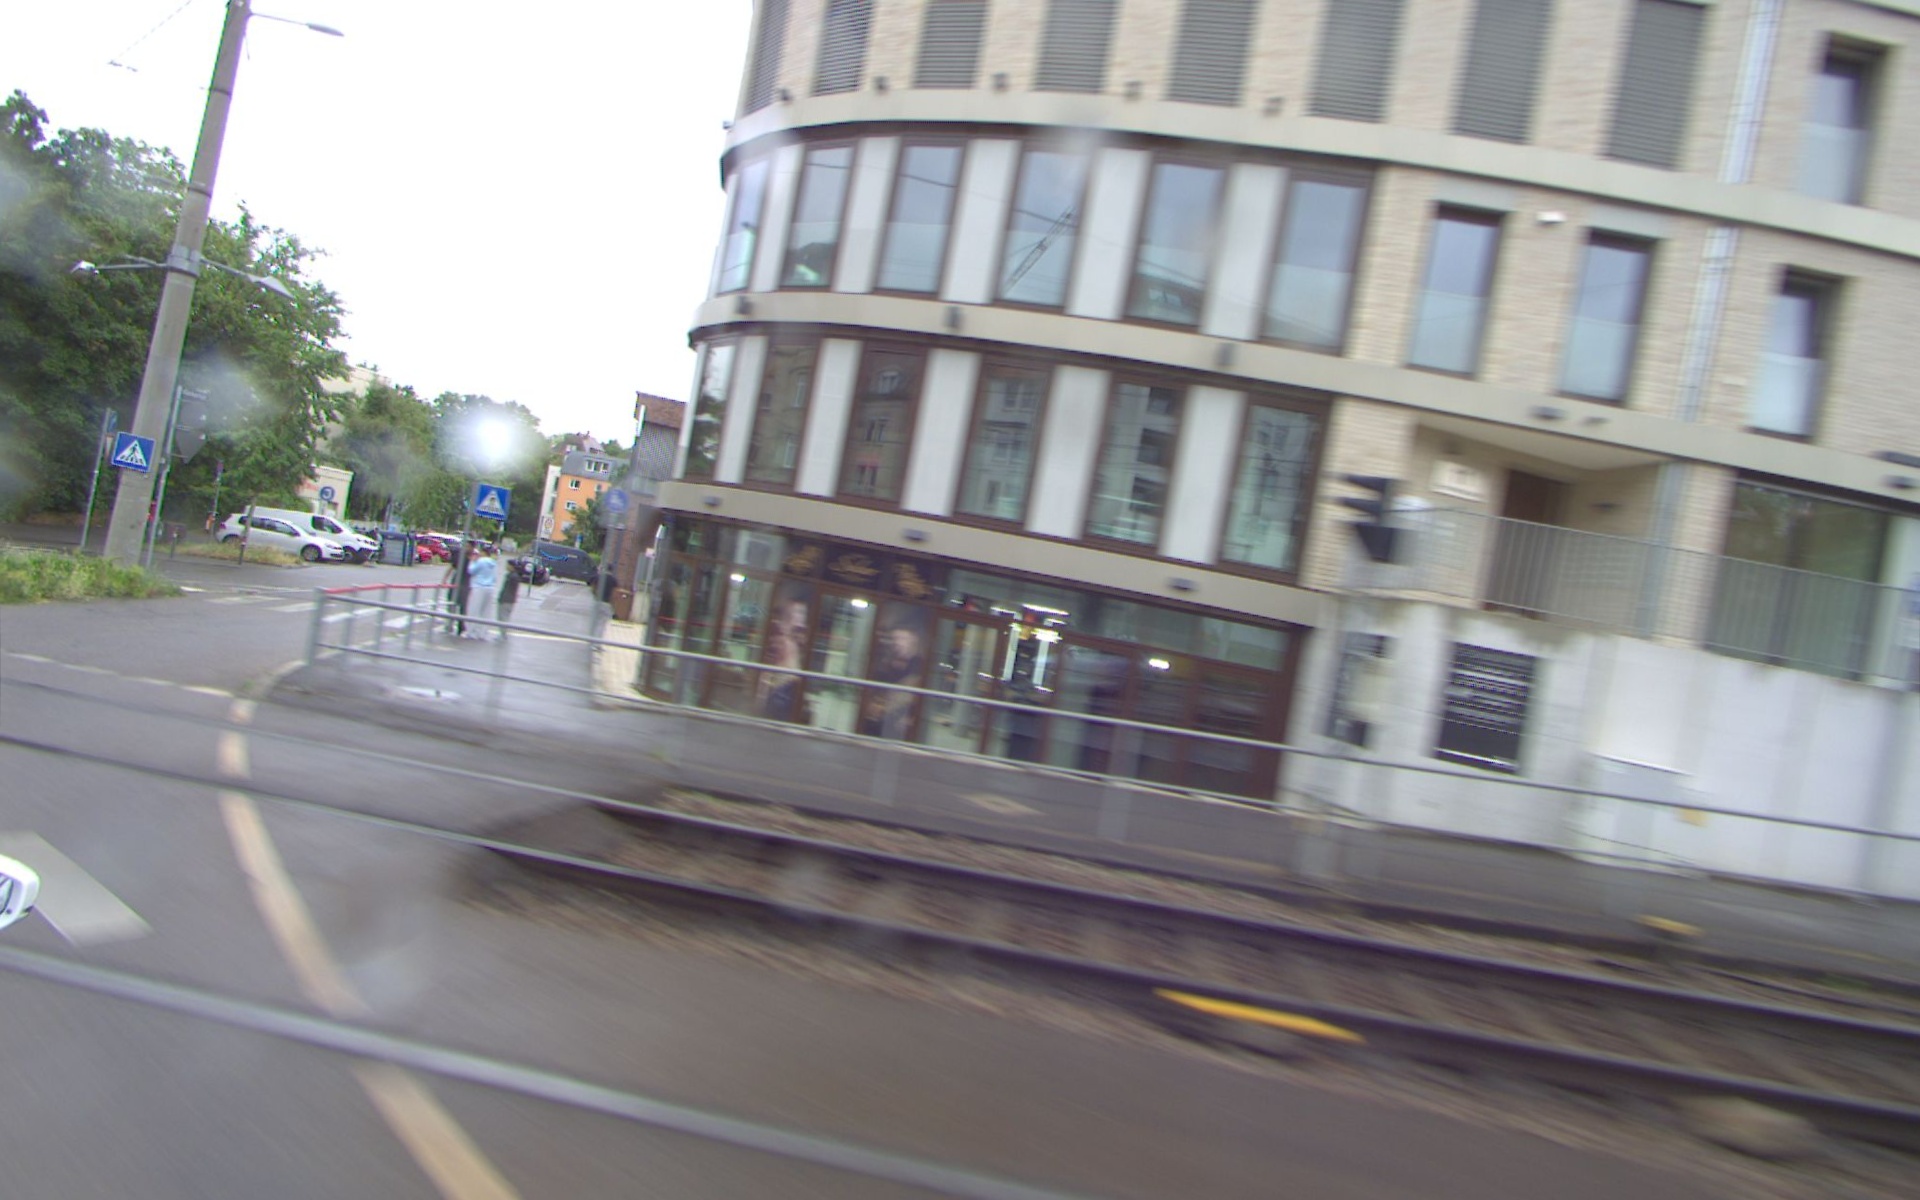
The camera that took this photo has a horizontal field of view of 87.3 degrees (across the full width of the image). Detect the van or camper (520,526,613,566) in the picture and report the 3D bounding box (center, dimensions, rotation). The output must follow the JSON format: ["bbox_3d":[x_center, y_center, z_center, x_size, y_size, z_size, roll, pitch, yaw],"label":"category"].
[{"bbox_3d":[-28.837,-3.938,73.942,5.905,2.038,1.976,8,0,-42],"label":"van or camper"}]

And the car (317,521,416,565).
[{"bbox_3d":[-29.882,-2.848,50.774,3.846,1.705,1.731,7,0,-18],"label":"car"}]

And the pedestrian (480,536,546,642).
[{"bbox_3d":[-9.074,-0.217,20.427,0.876,2.039,0.592,8,1,27],"label":"pedestrian"}]

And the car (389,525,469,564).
[{"bbox_3d":[-33.322,-3.469,63.234,3.942,1.793,1.840,9,0,-17],"label":"car"}]

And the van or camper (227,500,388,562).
[{"bbox_3d":[-26.995,-2.824,41.836,5.100,1.857,1.994,7,0,-15],"label":"van or camper"}]

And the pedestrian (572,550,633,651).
[{"bbox_3d":[-7.591,0.018,21.371,0.876,2.039,0.592,8,2,27],"label":"pedestrian"}]

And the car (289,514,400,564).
[{"bbox_3d":[-27.934,-2.747,45.777,3.846,1.705,1.731,7,0,-18],"label":"car"}]

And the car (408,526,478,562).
[{"bbox_3d":[-36.204,-3.895,70.541,3.942,1.793,1.840,9,0,-17],"label":"car"}]

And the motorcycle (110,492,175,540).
[{"bbox_3d":[-29.446,-2.994,36.283,0.815,1.389,2.419,12,-3,-20],"label":"motorcycle"}]

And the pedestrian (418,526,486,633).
[{"bbox_3d":[-10.228,-0.404,20.260,0.771,2.039,0.684,8,1,19],"label":"pedestrian"}]

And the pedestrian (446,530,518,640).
[{"bbox_3d":[-9.397,-0.289,19.777,0.875,2.039,0.657,8,1,19],"label":"pedestrian"}]

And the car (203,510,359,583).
[{"bbox_3d":[-26.327,-2.023,39.204,4.448,2.036,1.992,9,-2,-20],"label":"car"}]

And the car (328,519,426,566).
[{"bbox_3d":[-30.535,-2.976,52.820,3.942,1.793,1.840,9,0,-17],"label":"car"}]

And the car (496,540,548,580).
[{"bbox_3d":[-26.857,-2.487,61.609,1.982,2.039,3.960,7,0,-36],"label":"car"}]

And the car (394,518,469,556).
[{"bbox_3d":[-35.320,-4.180,67.324,3.942,1.793,1.840,9,0,-17],"label":"car"}]

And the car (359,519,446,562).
[{"bbox_3d":[-32.250,-3.435,58.317,3.942,1.793,1.840,9,0,-17],"label":"car"}]
